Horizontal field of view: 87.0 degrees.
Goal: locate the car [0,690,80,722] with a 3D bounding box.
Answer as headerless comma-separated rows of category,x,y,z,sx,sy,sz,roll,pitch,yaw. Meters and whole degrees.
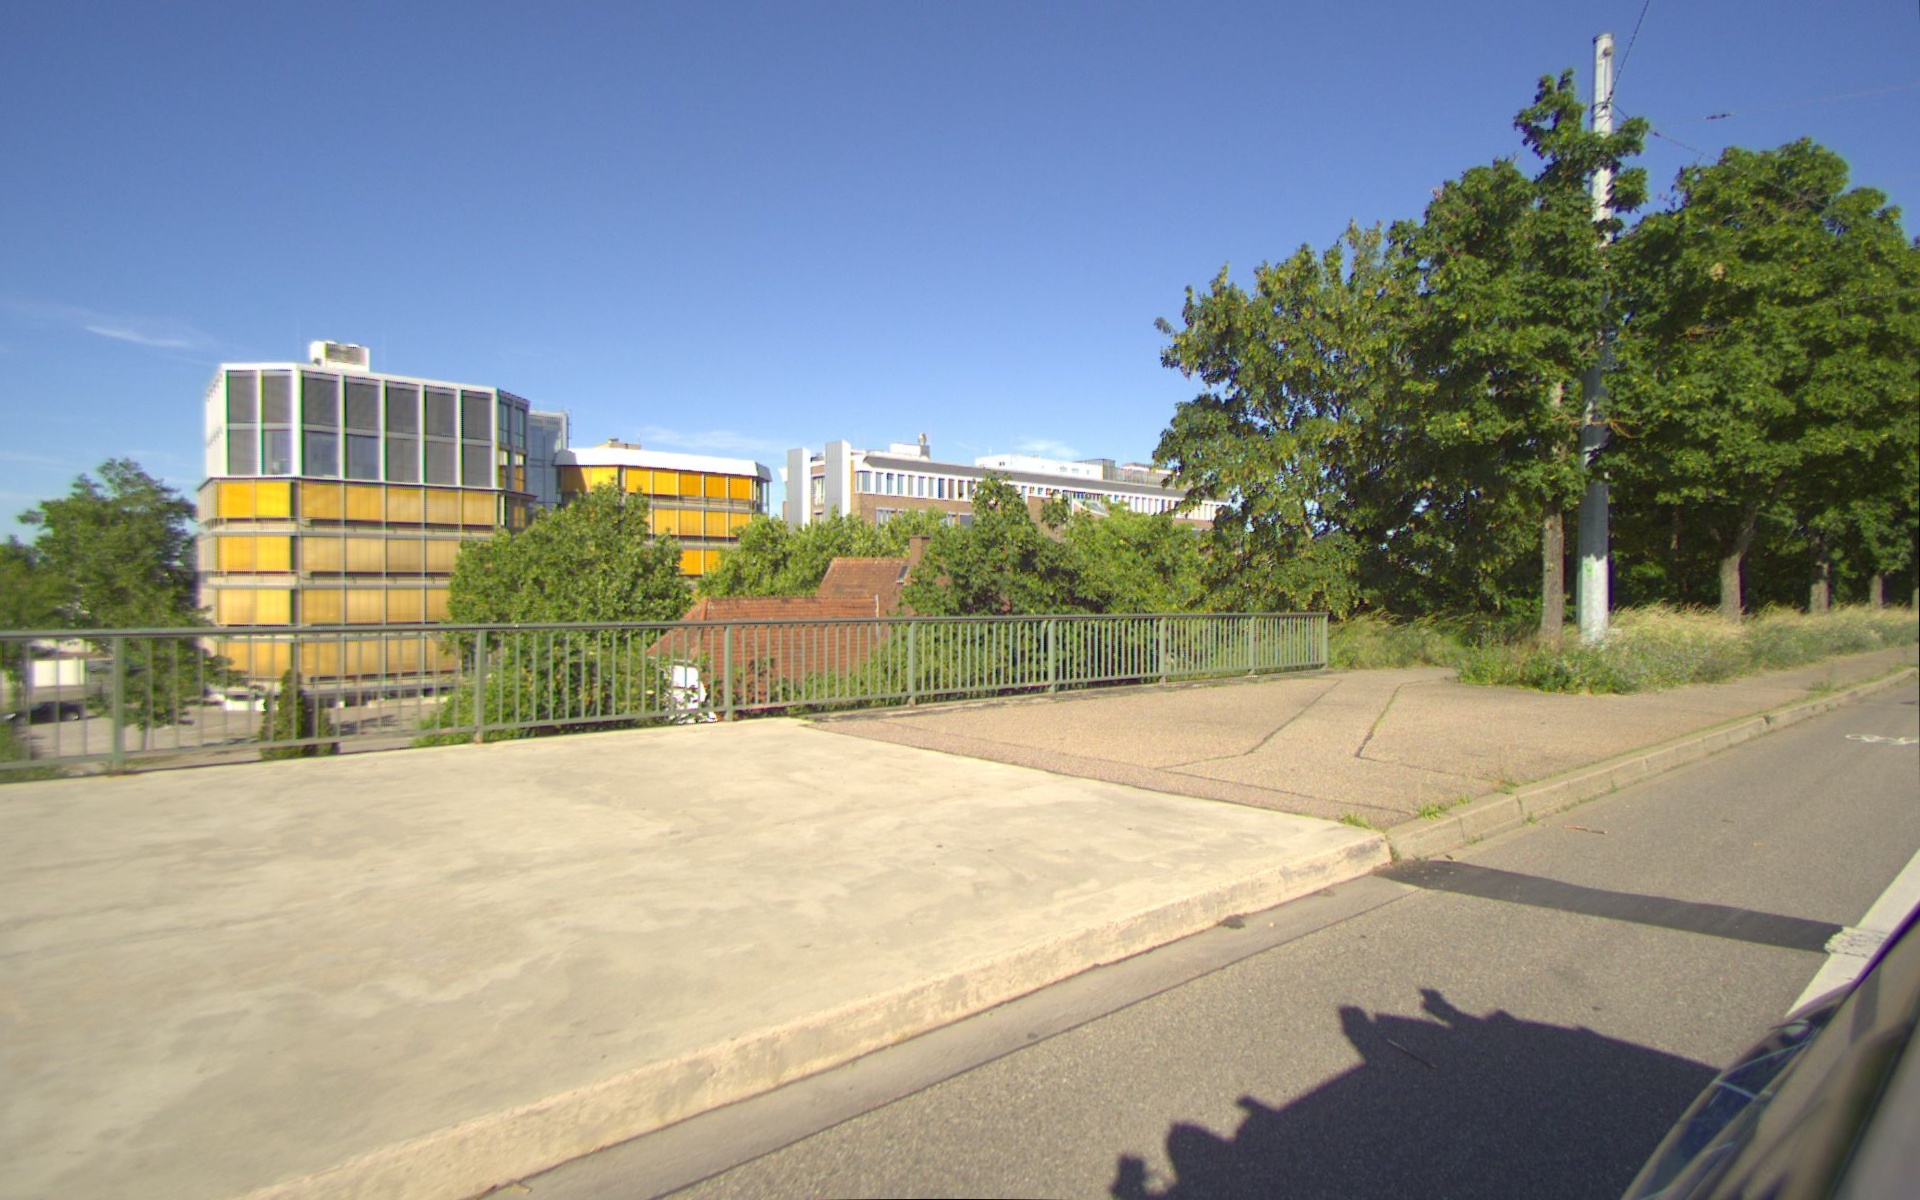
car,-56.402,6.437,61.587,1.769,1.661,3.950,-2,-2,34
